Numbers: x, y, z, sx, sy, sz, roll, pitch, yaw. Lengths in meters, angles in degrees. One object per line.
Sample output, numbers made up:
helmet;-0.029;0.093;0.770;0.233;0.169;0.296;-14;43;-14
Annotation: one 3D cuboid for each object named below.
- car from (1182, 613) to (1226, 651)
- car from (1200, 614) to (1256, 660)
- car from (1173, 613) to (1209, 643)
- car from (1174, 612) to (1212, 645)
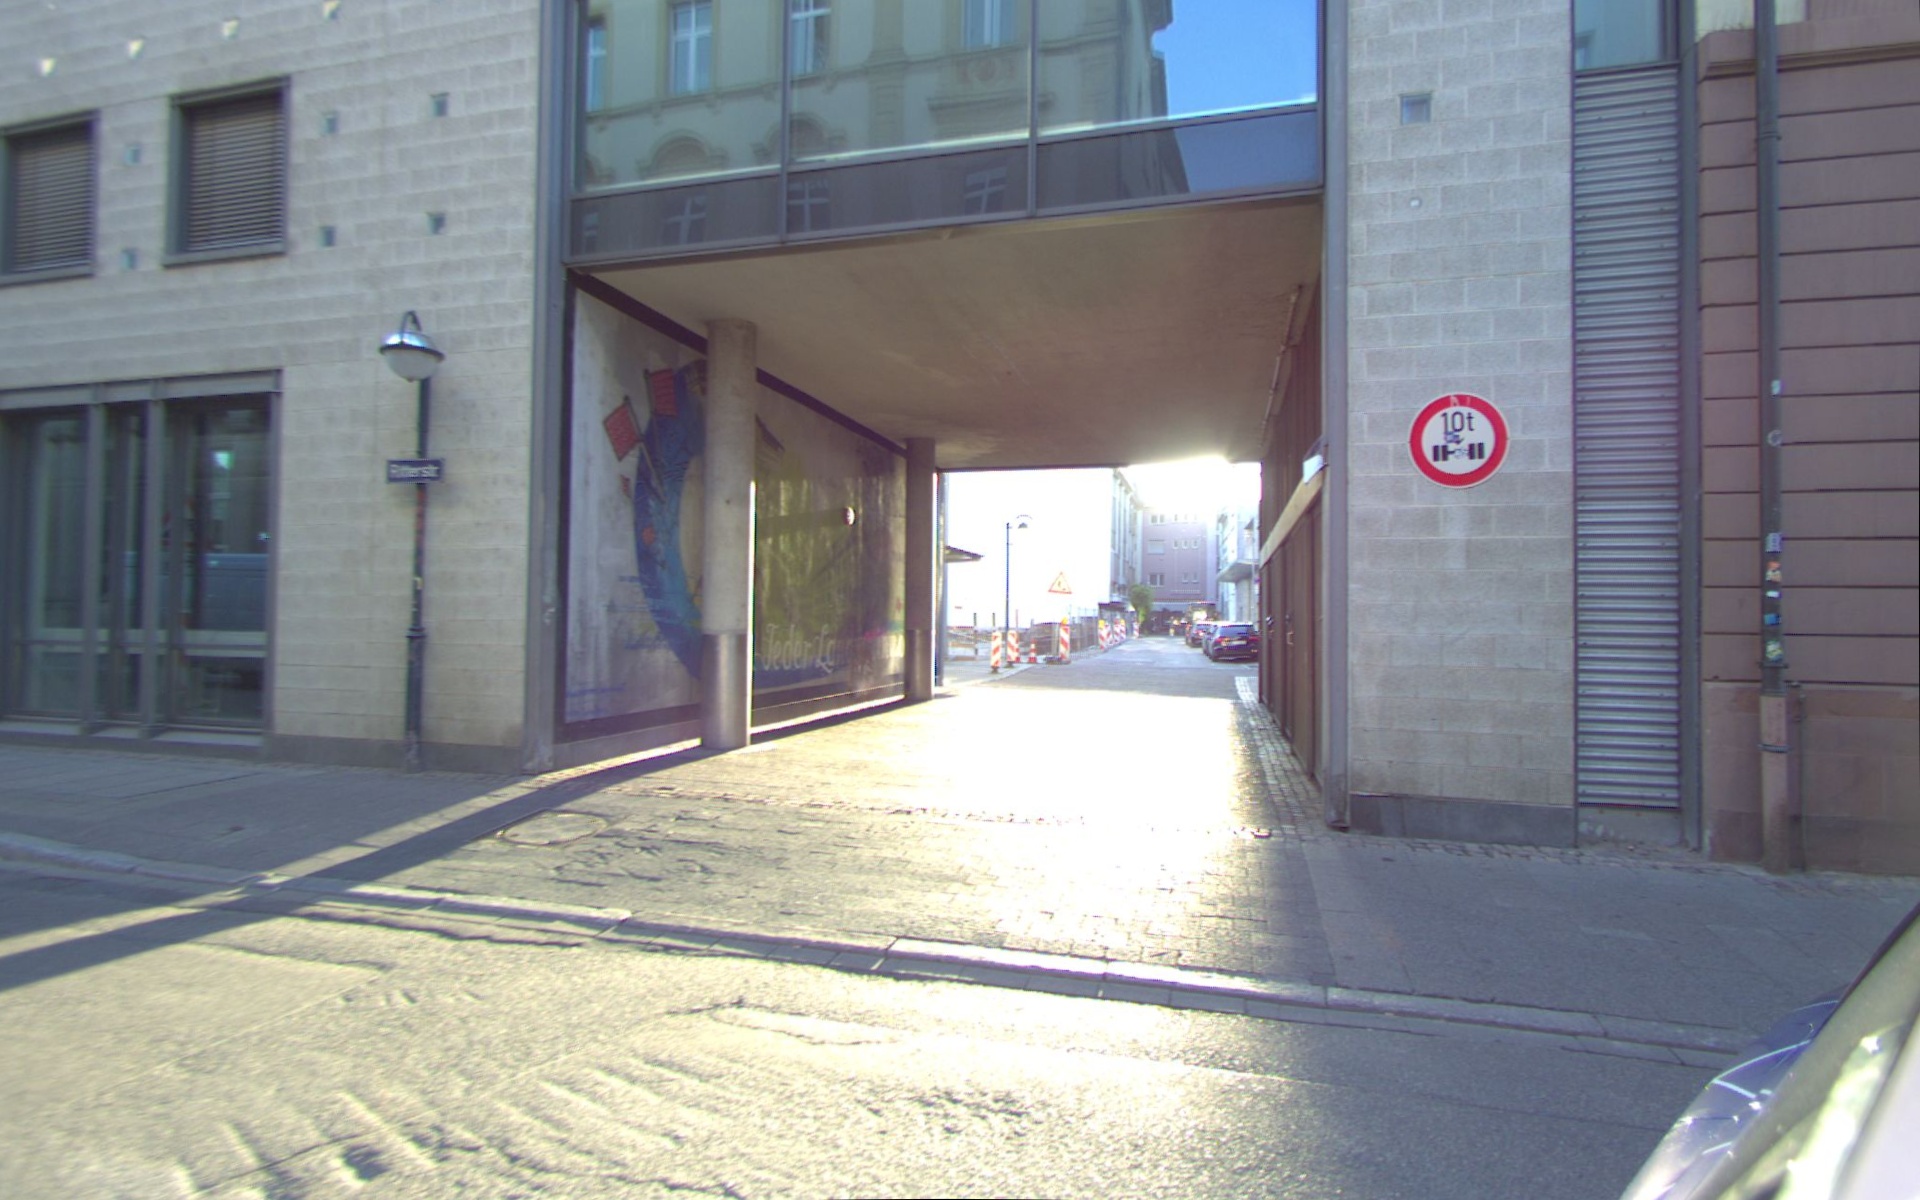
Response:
car;10.931;1.394;45.491;1.575;1.512;3.438;0;1;7
car;9.907;1.322;37.584;1.575;1.512;3.438;0;1;7
car;12.681;1.522;55.722;1.575;1.512;3.438;0;1;7
car;11.778;1.426;51.312;1.575;1.512;3.438;0;1;7
